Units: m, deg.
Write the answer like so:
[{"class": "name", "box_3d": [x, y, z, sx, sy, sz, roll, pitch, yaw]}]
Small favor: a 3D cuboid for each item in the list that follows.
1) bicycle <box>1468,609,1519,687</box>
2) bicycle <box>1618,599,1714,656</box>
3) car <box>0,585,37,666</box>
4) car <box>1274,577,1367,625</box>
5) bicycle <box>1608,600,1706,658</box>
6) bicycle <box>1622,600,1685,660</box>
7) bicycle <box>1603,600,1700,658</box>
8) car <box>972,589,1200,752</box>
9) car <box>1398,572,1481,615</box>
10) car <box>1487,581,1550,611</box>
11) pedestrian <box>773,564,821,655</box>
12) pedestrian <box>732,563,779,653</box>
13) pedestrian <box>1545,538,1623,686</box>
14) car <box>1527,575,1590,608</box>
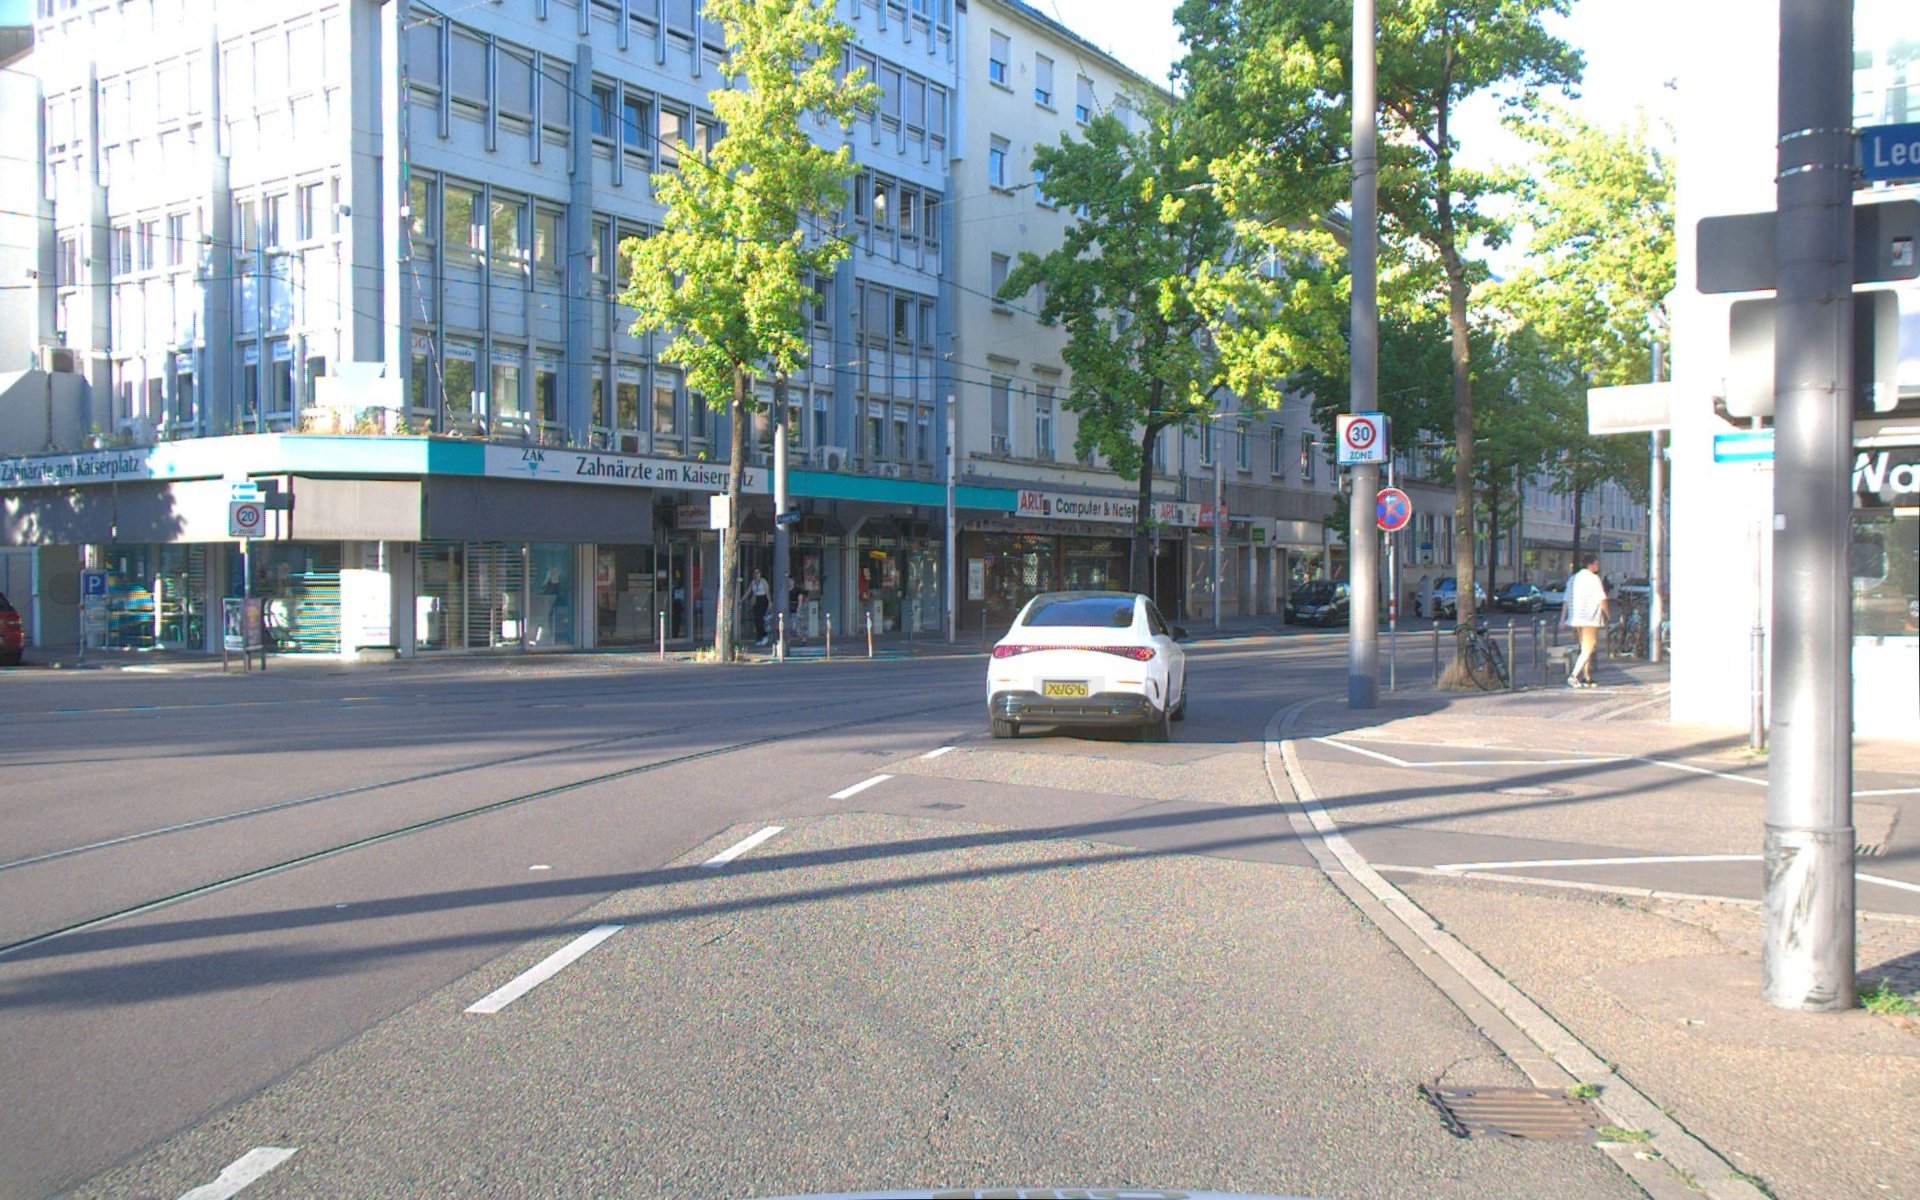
[{"class": "bicycle", "box_3d": [7.891, 0.689, 24.429, 0.347, 1.095, 1.695, 1, 0, 30]}, {"class": "bicycle", "box_3d": [15.135, 0.575, 35.482, 1.835, 1.175, 0.560, 1, 0, 36]}, {"class": "car", "box_3d": [-19.769, 0.458, 32.116, 3.927, 1.511, 2.016, 1, 0, 41]}, {"class": "car", "box_3d": [13.033, 0.002, 59.667, 1.928, 1.668, 3.986, 1, 1, 35]}, {"class": "bicycle", "box_3d": [14.714, 0.603, 34.938, 1.835, 1.175, 0.560, 1, 0, 36]}, {"class": "bicycle", "box_3d": [14.046, 0.590, 33.547, 0.451, 1.175, 1.680, 0, 0, -5]}, {"class": "bicycle", "box_3d": [14.403, 0.597, 34.488, 1.835, 1.175, 0.346, 1, 0, 37]}, {"class": "car", "box_3d": [1.459, 0.639, 17.524, 1.828, 1.494, 4.046, 0, 0, 13]}, {"class": "car", "box_3d": [20.315, -0.276, 69.985, 1.928, 1.668, 4.797, 4, 2, 34]}, {"class": "car", "box_3d": [27.397, -0.218, 81.075, 1.926, 1.437, 4.836, 1, 1, 31]}, {"class": "pedestrian", "box_3d": [-3.736, 0.207, 37.936, 0.783, 2.049, 0.731, 1, 0, 35]}, {"class": "pedestrian", "box_3d": [-4.724, 0.184, 38.300, 0.783, 2.049, 0.731, 1, 0, 35]}, {"class": "pedestrian", "box_3d": [8.908, 0.164, 23.602, 0.827, 2.049, 0.843, 0, 0, 37]}, {"class": "car", "box_3d": [31.852, -0.467, 87.927, 1.914, 1.668, 4.891, 1, 1, 35]}]
